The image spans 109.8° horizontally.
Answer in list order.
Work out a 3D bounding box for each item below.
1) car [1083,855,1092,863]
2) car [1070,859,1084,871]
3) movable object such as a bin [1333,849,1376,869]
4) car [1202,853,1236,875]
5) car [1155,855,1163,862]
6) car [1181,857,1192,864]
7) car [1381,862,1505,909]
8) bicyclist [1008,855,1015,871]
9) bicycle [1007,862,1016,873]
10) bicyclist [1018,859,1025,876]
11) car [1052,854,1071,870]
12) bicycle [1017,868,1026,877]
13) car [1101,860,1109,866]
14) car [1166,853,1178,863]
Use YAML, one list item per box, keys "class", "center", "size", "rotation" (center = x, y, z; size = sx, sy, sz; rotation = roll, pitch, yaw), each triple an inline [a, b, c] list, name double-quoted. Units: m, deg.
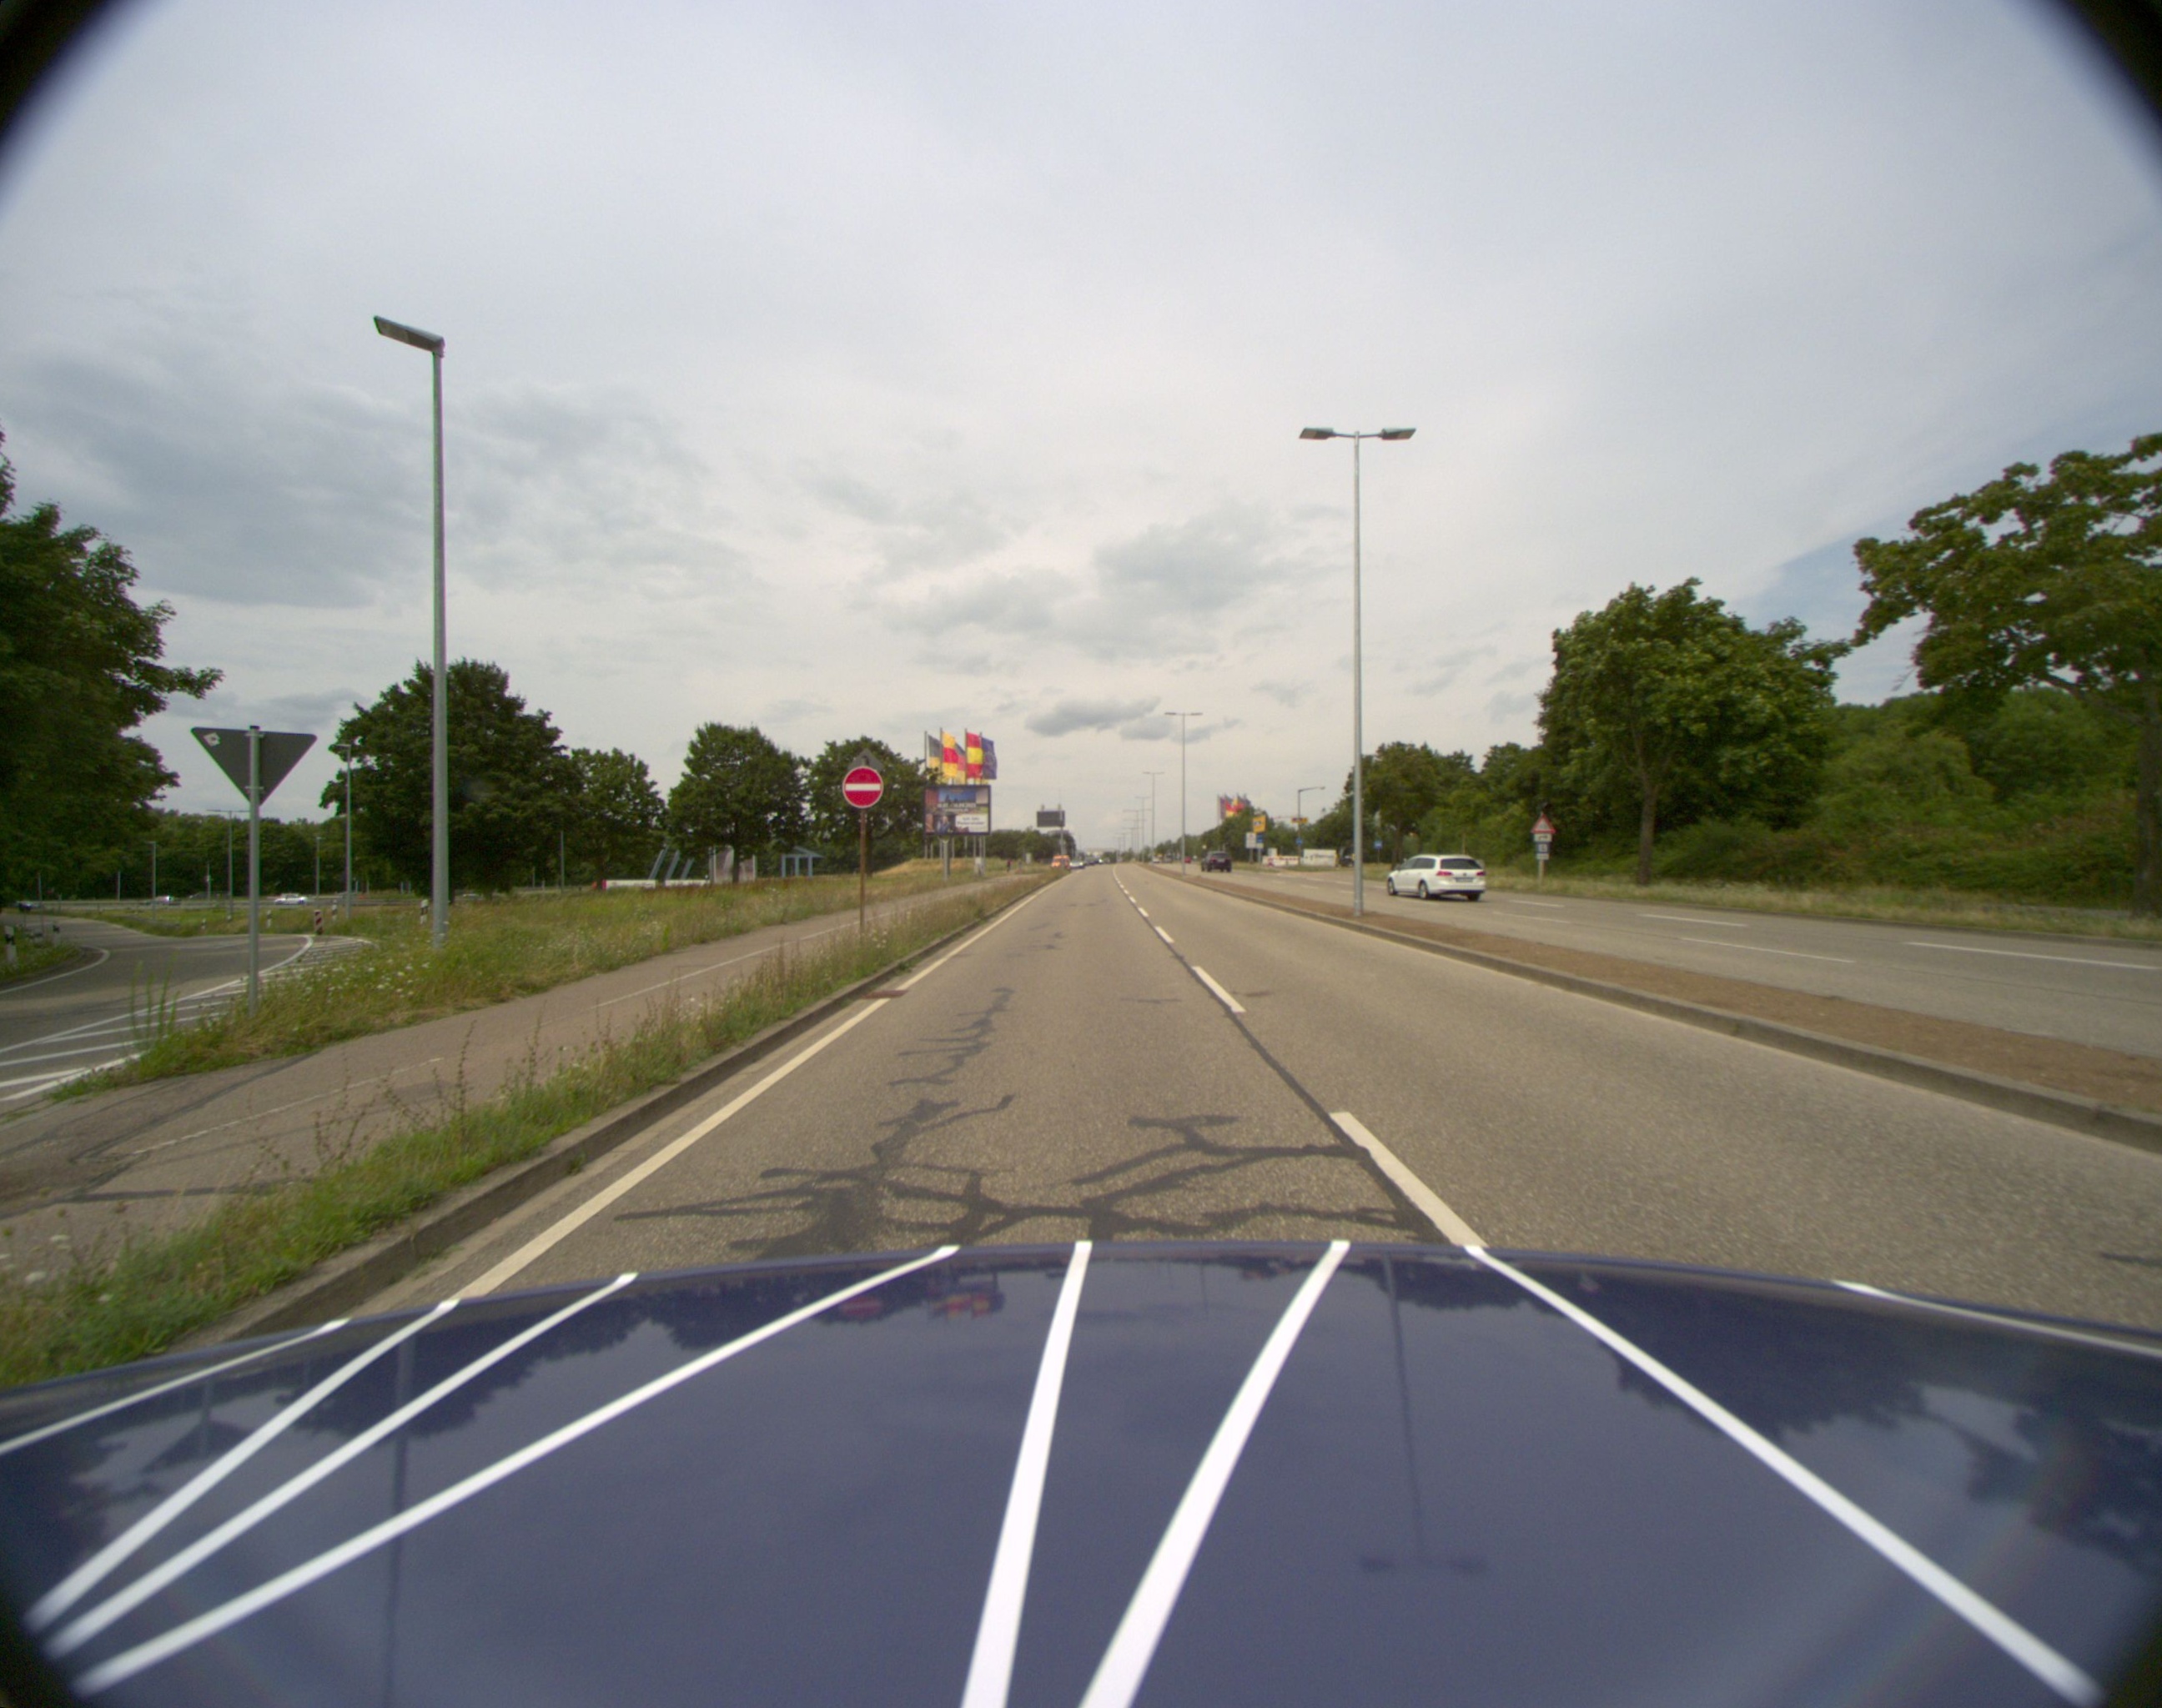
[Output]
- class: "car"
  center: [1.161, 0.864, 130.415]
  size: [1.558, 1.229, 3.470]
  rotation: [-2, -1, 1]
- class: "car"
  center: [-0.537, 1.409, 97.789]
  size: [1.695, 1.403, 3.684]
  rotation: [-2, -1, -1]
- class: "movable object such as a bin"
  center: [33.794, 0.665, 93.963]
  size: [4.593, 2.382, 1.999]
  rotation: [-1, -1, -8]
- class: "car"
  center: [11.858, 0.860, 65.557]
  size: [1.998, 1.800, 4.798]
  rotation: [0, -1, 0]
- class: "car"
  center: [21.076, 1.212, 205.006]
  size: [1.698, 1.619, 4.385]
  rotation: [-1, -1, 2]
- class: "car"
  center: [20.763, 1.309, 150.030]
  size: [1.758, 1.314, 4.348]
  rotation: [-1, -1, 4]
- class: "car"
  center: [11.873, 0.998, 25.352]
  size: [1.998, 1.422, 4.689]
  rotation: [0, -1, 1]
- class: "bicyclist"
  center: [-7.709, 1.006, 84.539]
  size: [0.705, 1.745, 0.991]
  rotation: [-1, 0, 1]
- class: "bicycle"
  center: [-7.700, 1.461, 84.443]
  size: [0.695, 1.185, 2.461]
  rotation: [0, -1, 1]
- class: "bicyclist"
  center: [-5.983, 1.334, 76.020]
  size: [0.623, 1.656, 0.669]
  rotation: [2, -1, 0]
- class: "car"
  center: [-2.249, 0.956, 87.854]
  size: [1.892, 1.824, 4.431]
  rotation: [-2, -1, 1]
- class: "bicycle"
  center: [-5.975, 1.862, 76.250]
  size: [0.625, 0.883, 2.154]
  rotation: [-1, 0, 0]
- class: "car"
  center: [4.889, 1.869, 156.114]
  size: [1.558, 1.229, 3.470]
  rotation: [-2, -1, 1]
- class: "car"
  center: [18.199, 0.775, 152.436]
  size: [1.907, 1.798, 4.541]
  rotation: [-1, -1, 1]
